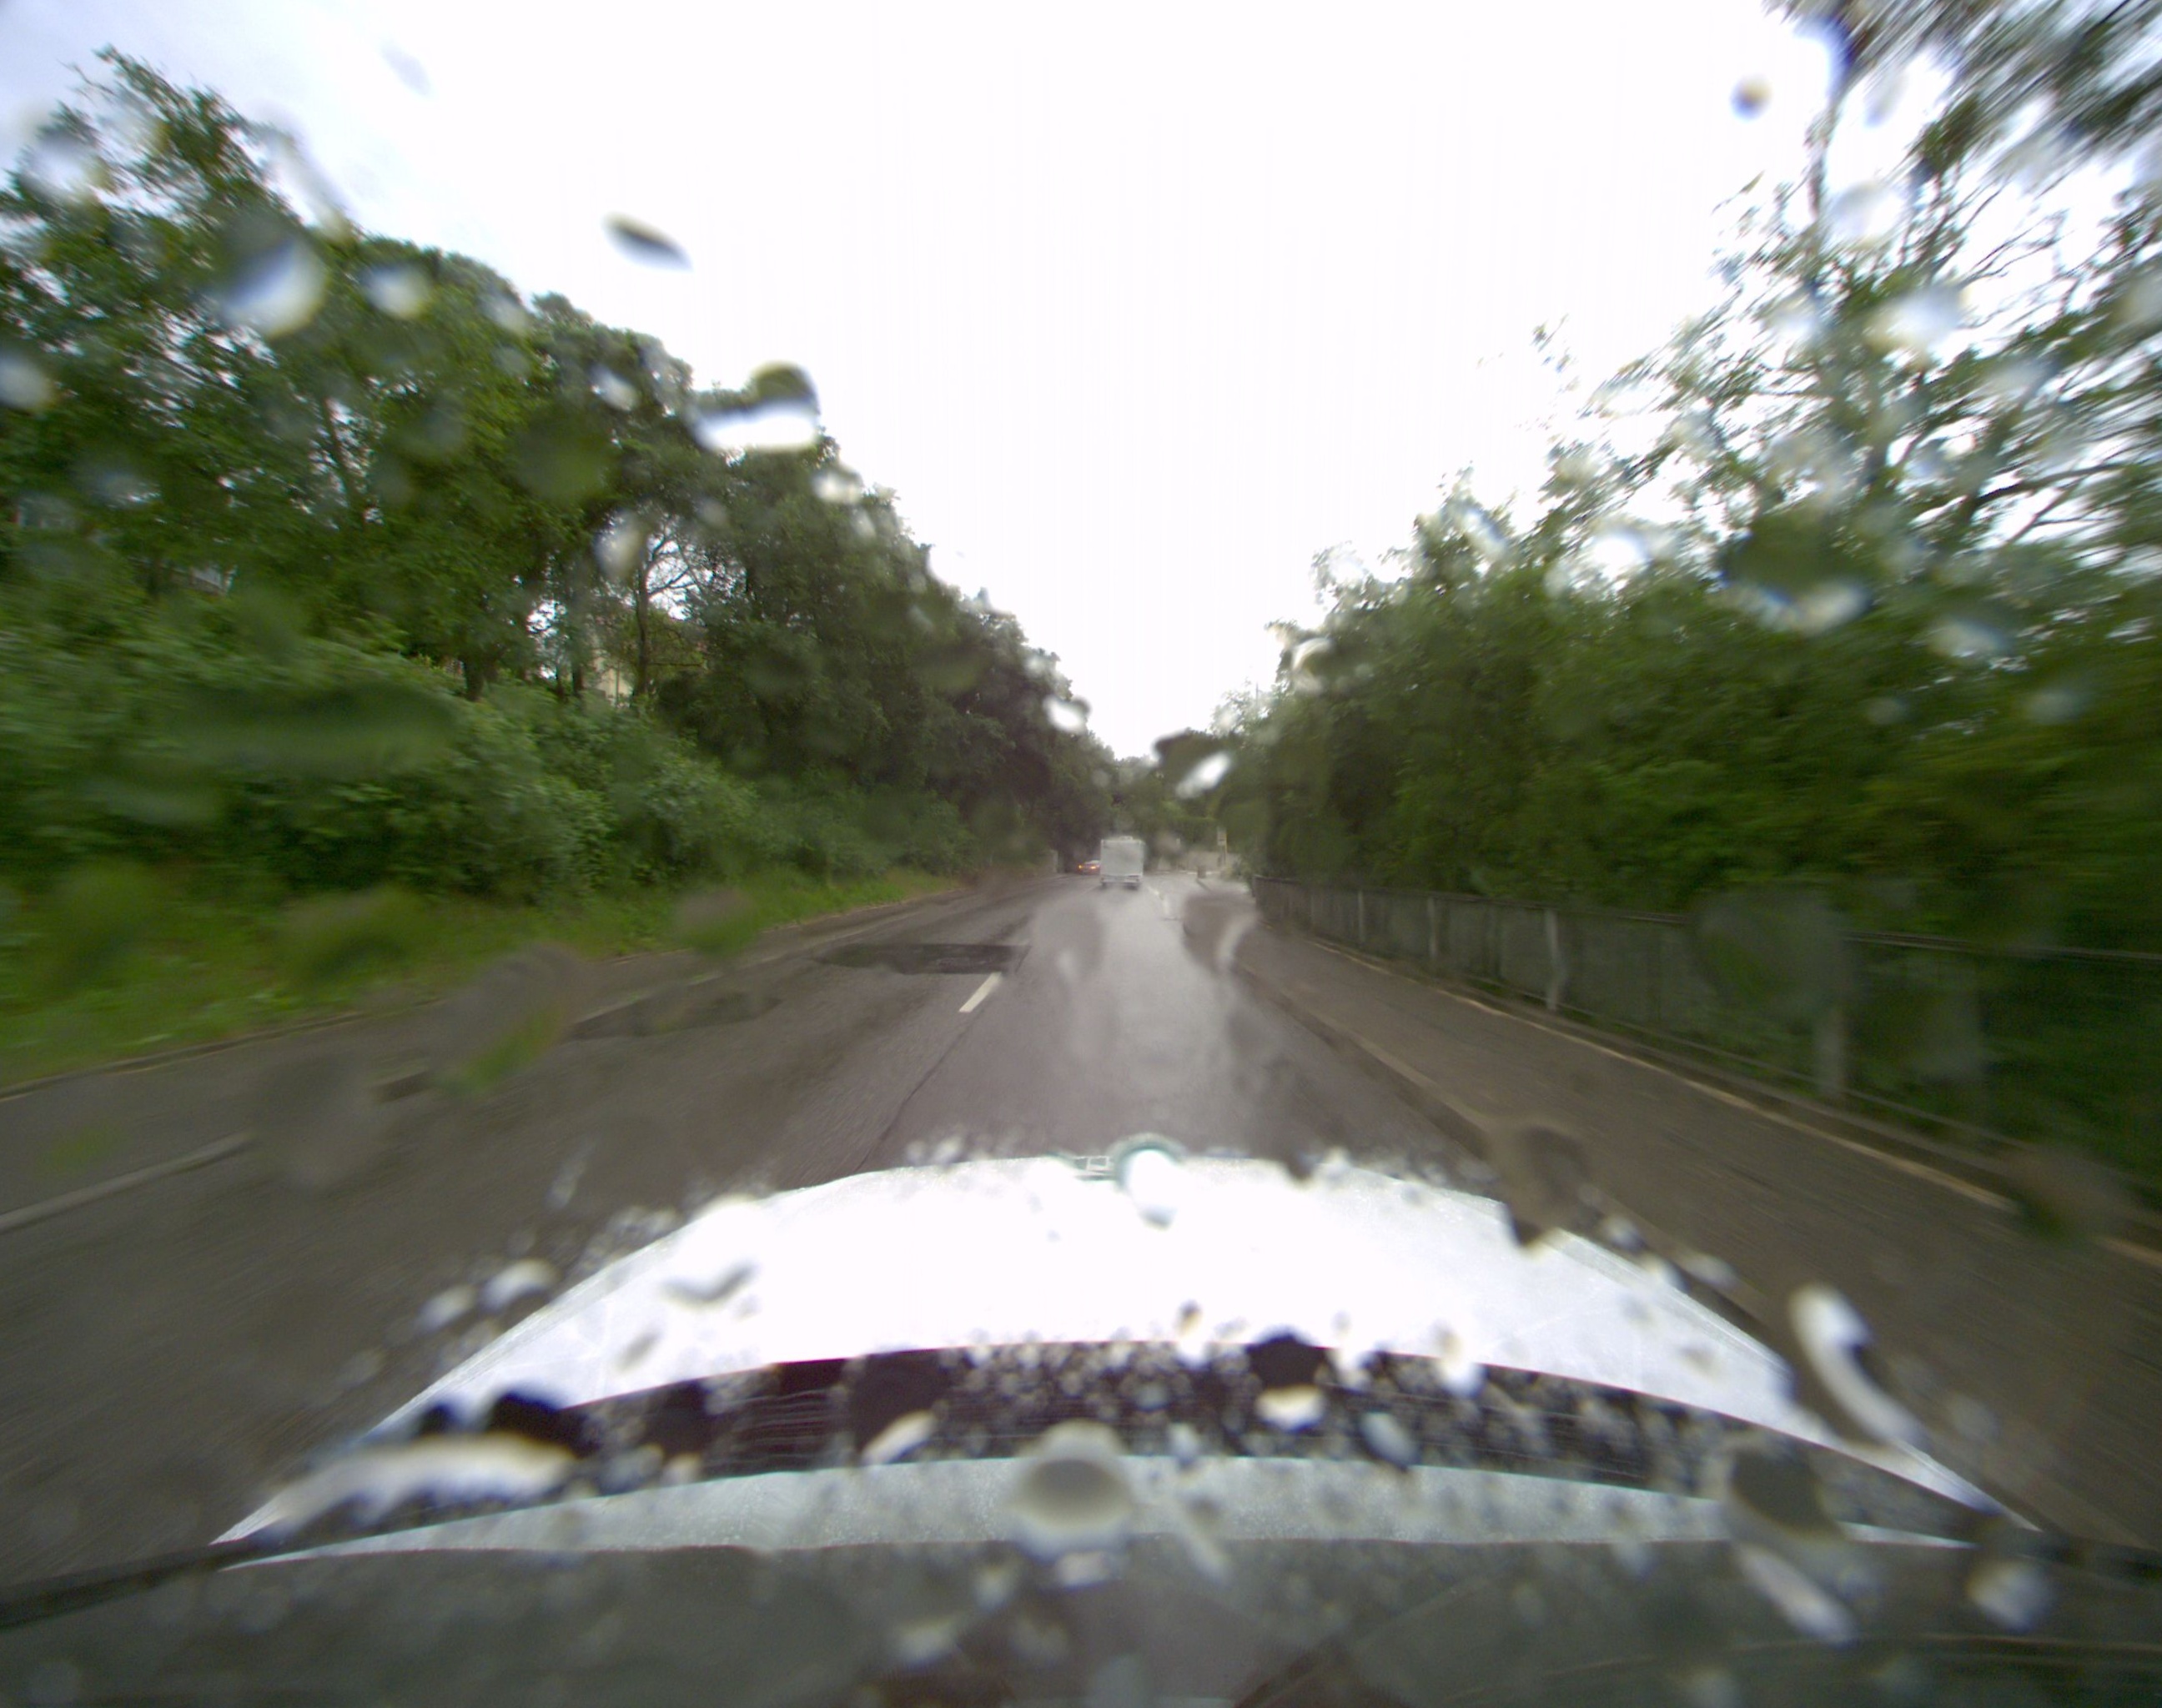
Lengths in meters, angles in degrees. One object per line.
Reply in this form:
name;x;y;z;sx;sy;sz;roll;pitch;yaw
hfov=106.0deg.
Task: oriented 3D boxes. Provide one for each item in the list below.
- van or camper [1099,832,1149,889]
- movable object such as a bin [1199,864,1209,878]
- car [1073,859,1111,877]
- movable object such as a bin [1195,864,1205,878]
van or camper;2.544;0.432;46.942;2.528;2.925;5.955;-3;-2;4
movable object such as a bin;10.185;1.431;67.593;0.772;1.133;0.740;1;-1;11
car;1.064;1.282;75.060;1.977;1.561;4.676;1;0;21
movable object such as a bin;9.679;1.407;66.371;0.772;1.133;0.740;1;-1;11
